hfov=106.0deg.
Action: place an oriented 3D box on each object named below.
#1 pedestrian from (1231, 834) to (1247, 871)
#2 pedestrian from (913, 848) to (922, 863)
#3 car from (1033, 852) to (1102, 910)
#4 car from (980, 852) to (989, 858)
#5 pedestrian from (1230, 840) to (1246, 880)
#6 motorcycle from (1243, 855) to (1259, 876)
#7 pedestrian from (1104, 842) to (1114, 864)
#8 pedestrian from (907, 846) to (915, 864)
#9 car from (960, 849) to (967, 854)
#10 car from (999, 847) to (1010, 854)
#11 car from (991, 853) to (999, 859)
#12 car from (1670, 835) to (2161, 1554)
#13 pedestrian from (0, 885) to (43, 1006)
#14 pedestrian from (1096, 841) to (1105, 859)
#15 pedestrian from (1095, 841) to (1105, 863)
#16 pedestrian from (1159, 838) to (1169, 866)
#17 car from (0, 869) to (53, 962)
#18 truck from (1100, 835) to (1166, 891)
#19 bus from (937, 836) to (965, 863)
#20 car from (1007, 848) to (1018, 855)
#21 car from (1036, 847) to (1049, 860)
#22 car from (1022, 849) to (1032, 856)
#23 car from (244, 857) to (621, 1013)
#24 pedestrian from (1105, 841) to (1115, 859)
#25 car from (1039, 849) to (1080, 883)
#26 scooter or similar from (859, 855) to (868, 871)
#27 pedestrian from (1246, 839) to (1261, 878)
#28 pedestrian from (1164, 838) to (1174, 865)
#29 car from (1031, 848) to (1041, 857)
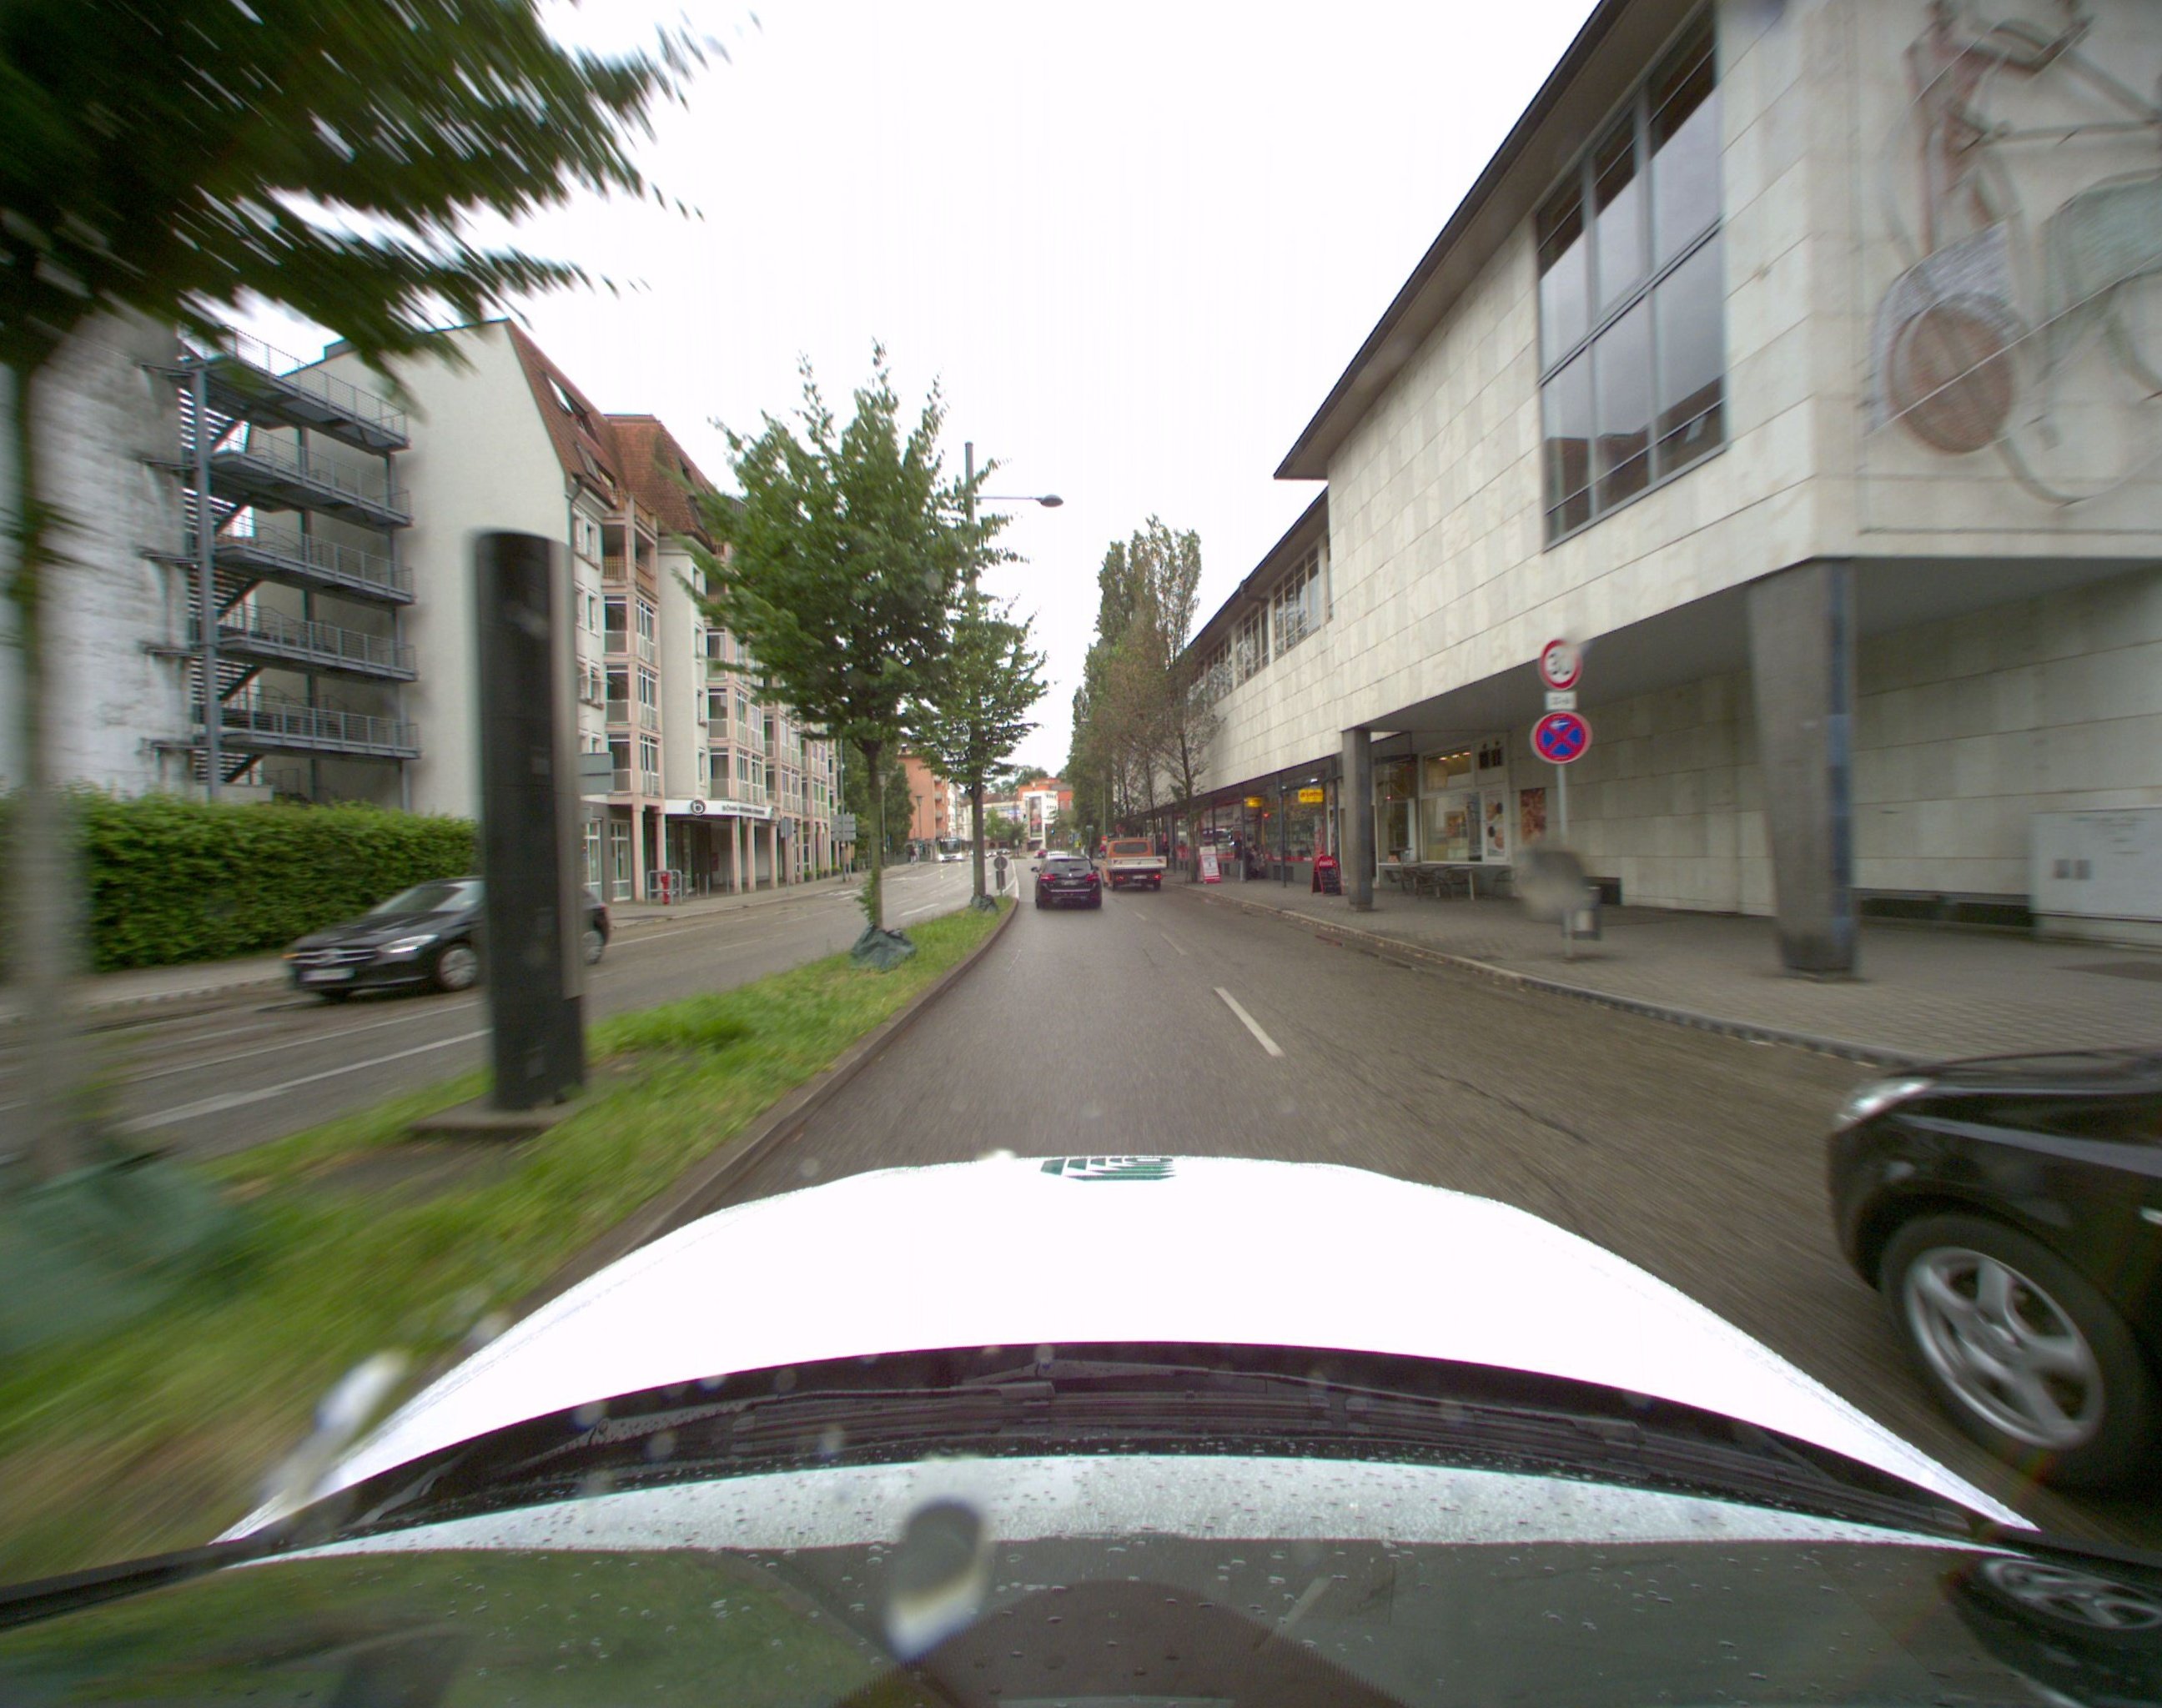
[{"bbox_3d":[6.937,-0.069,35.726,0.425,1.566,0.513,-2,1,41],"label":"pedestrian"},{"bbox_3d":[-18.625,0.173,92.678,0.795,1.794,0.811,-1,0,-3],"label":"pedestrian"},{"bbox_3d":[-0.426,0.713,23.094,1.790,1.483,3.996,0,0,-2],"label":"car"},{"bbox_3d":[-22.193,0.225,187.641,1.789,1.325,4.398,-2,0,-5],"label":"car"},{"bbox_3d":[6.185,0.233,32.031,0.428,1.566,0.508,-3,1,-7],"label":"pedestrian"},{"bbox_3d":[6.872,0.452,32.931,0.323,0.804,0.918,-3,1,-5],"label":"motorcycle"},{"bbox_3d":[2.344,-0.122,68.698,0.697,1.801,0.605,-3,1,-6],"label":"pedestrian"},{"bbox_3d":[-17.421,0.113,83.430,0.696,1.794,0.958,-1,0,-2],"label":"pedestrian"},{"bbox_3d":[-31.220,-0.634,216.064,1.662,1.399,3.869,-3,0,-5],"label":"car"},{"bbox_3d":[-19.848,-0.902,210.773,1.655,1.564,3.565,2,-2,-30],"label":"car"},{"bbox_3d":[-20.810,0.558,196.893,1.790,1.325,4.394,-2,0,-8],"label":"car"},{"bbox_3d":[3.050,0.690,1.143,1.703,1.457,3.740,0,0,-2],"label":"car"},{"bbox_3d":[-14.501,1.215,10.776,0.712,1.559,0.565,-2,1,-2],"label":"pedestrian"},{"bbox_3d":[1.789,-0.403,75.681,0.716,1.620,0.768,-3,1,-5],"label":"pedestrian"},{"bbox_3d":[1.574,-0.179,68.656,0.652,1.767,0.921,-3,1,-5],"label":"pedestrian"},{"bbox_3d":[5.305,-0.127,51.899,0.534,1.718,0.535,-2,1,3],"label":"pedestrian"},{"bbox_3d":[-18.584,1.047,12.237,1.589,1.510,3.601,-2,0,1],"label":"car"},{"bbox_3d":[1.939,0.342,31.704,2.116,2.025,4.712,-1,-1,-2],"label":"truck"},{"bbox_3d":[-16.099,-0.669,101.414,2.741,3.075,12.210,-2,2,-7],"label":"bus"},{"bbox_3d":[-18.117,-0.617,214.479,1.655,1.564,3.565,2,-2,-30],"label":"car"},{"bbox_3d":[-5.349,-0.055,112.273,1.642,1.564,3.593,1,-2,-5],"label":"car"},{"bbox_3d":[-13.503,-0.267,203.556,1.993,1.684,3.988,-2,0,-9],"label":"car"},{"bbox_3d":[-8.980,0.979,11.880,1.820,1.736,4.262,-4,0,3],"label":"car"},{"bbox_3d":[2.657,-0.369,75.069,0.725,1.589,0.605,-3,1,-6],"label":"pedestrian"},{"bbox_3d":[-1.063,0.560,39.187,1.791,1.483,3.995,-2,0,-3],"label":"car"},{"bbox_3d":[-18.428,0.768,69.087,0.481,1.313,1.567,-2,3,-9],"label":"scooter or similar"},{"bbox_3d":[6.950,0.182,32.806,0.386,1.566,0.429,-3,1,-7],"label":"pedestrian"},{"bbox_3d":[5.688,-0.166,52.625,0.534,1.718,0.535,-2,1,5],"label":"pedestrian"},{"bbox_3d":[-8.495,-0.327,153.760,1.642,1.564,3.593,1,-2,-5],"label":"car"}]
